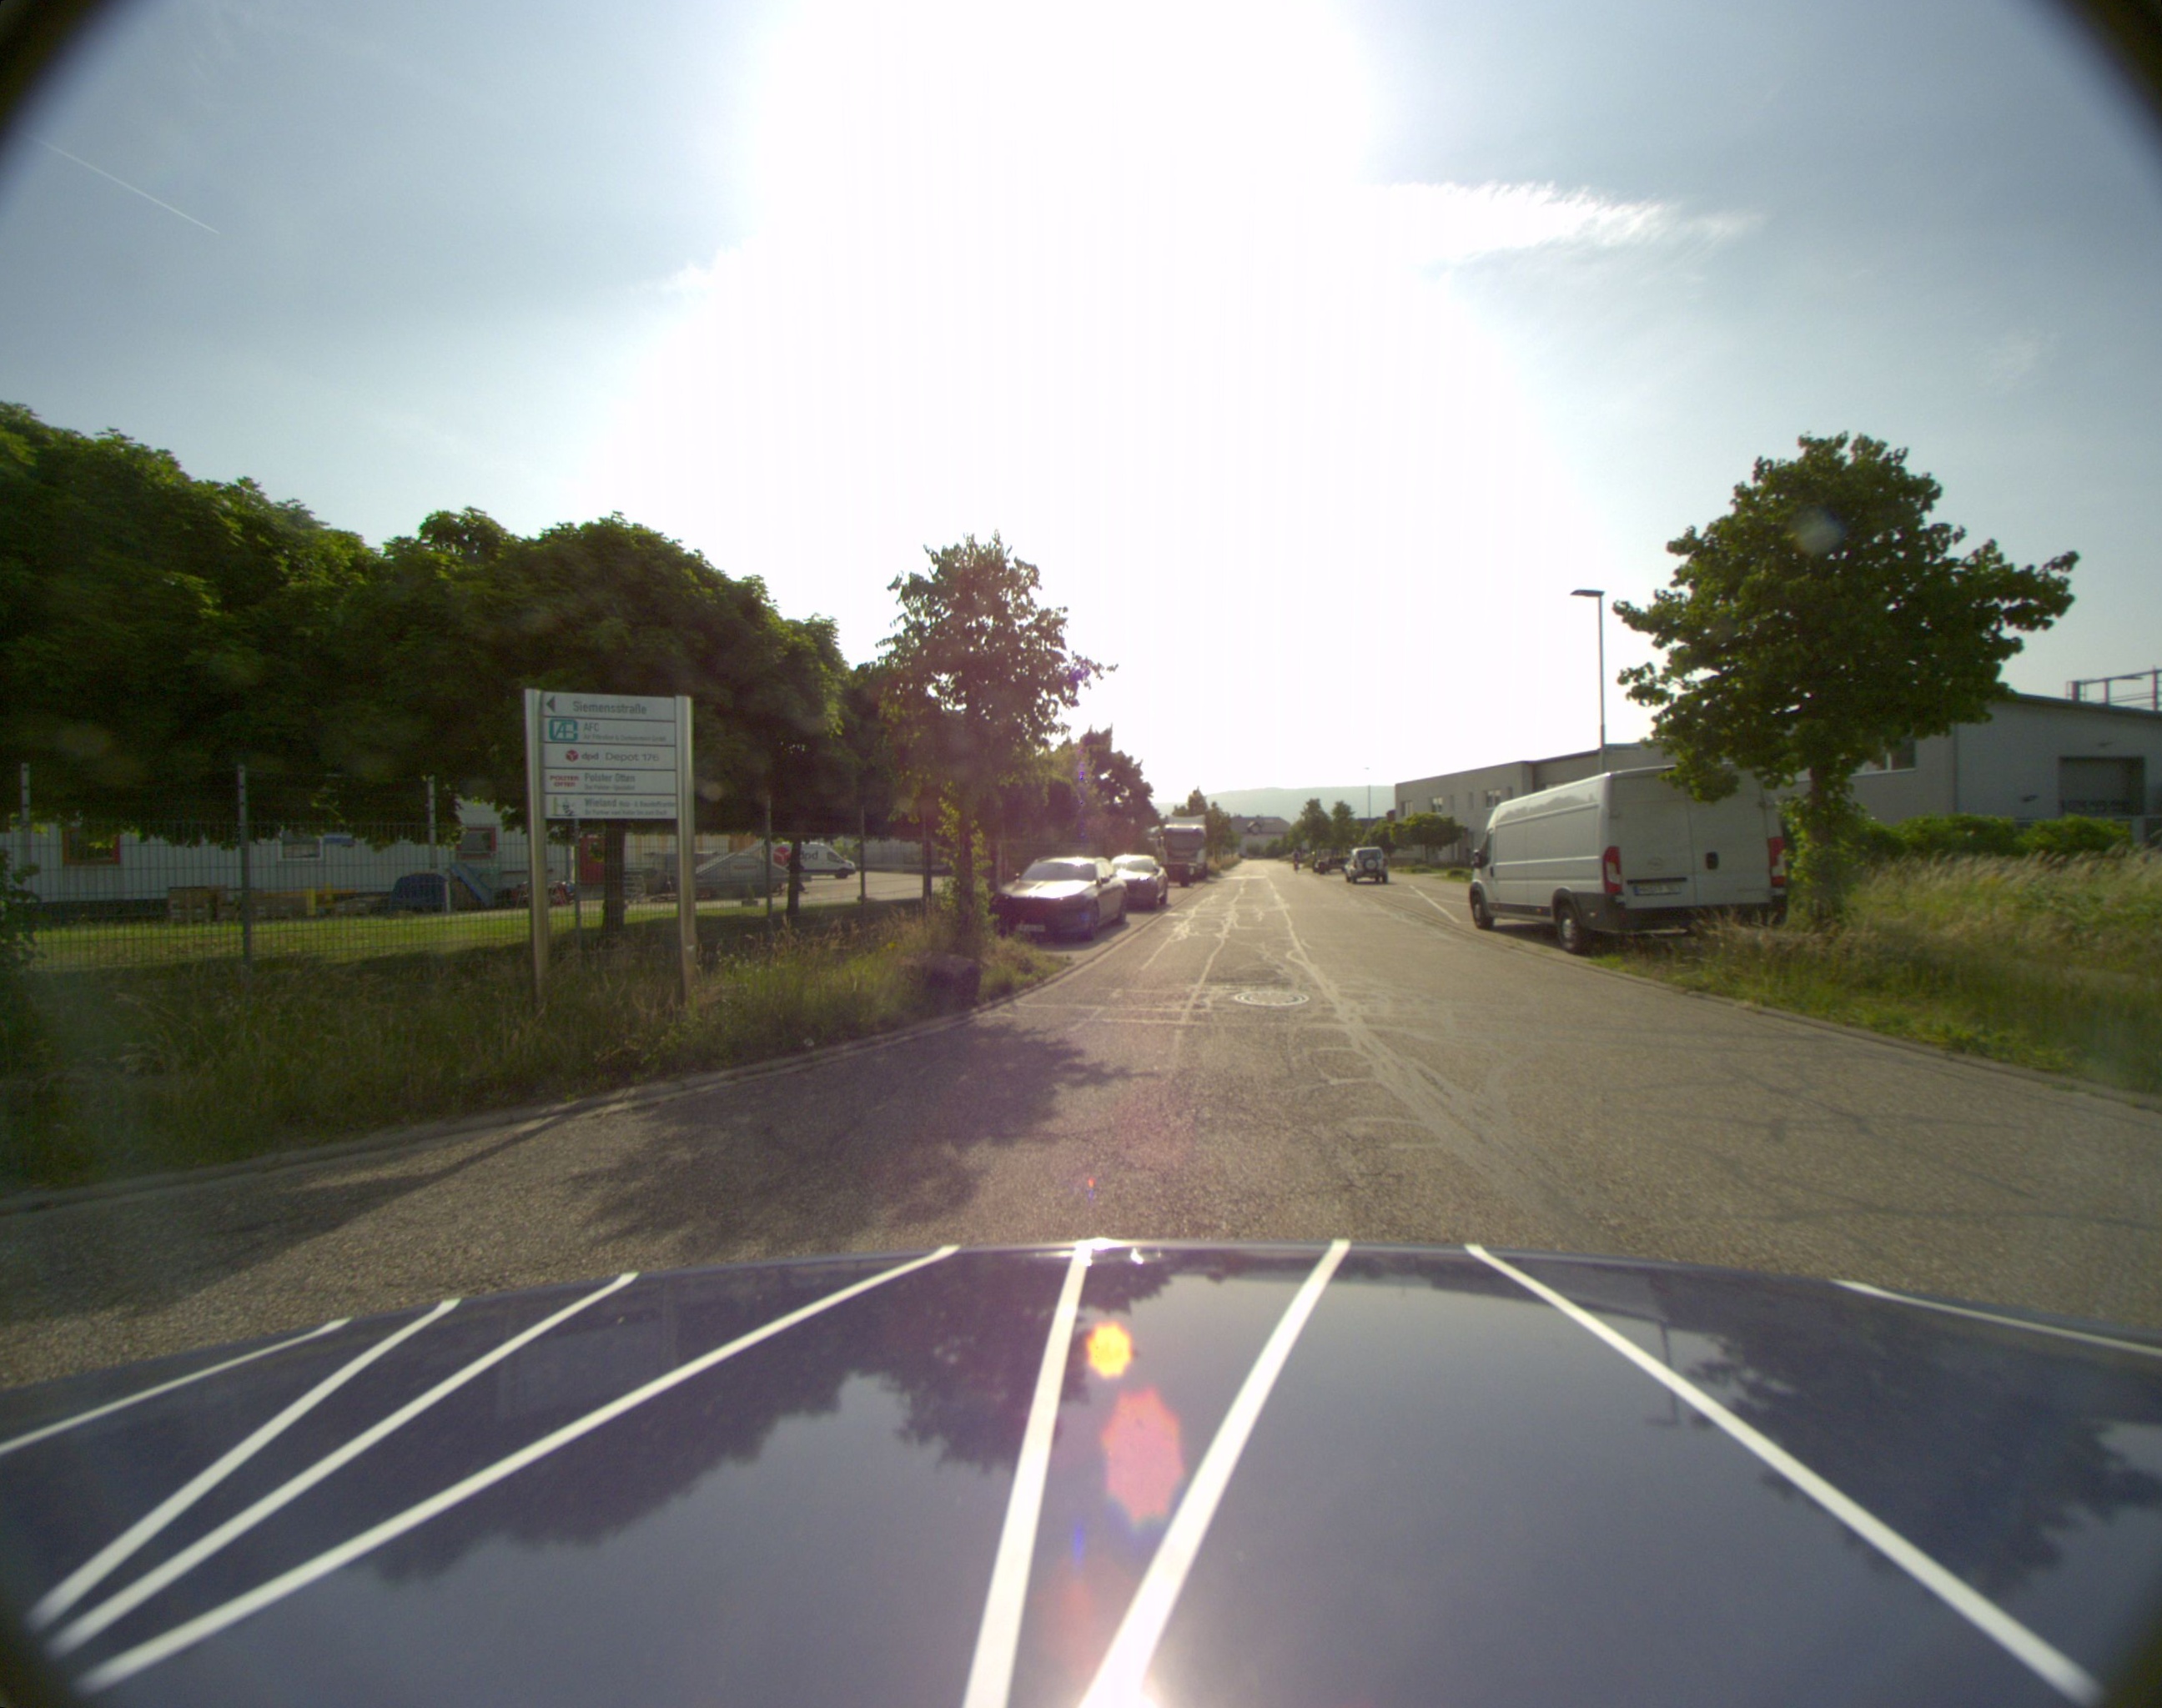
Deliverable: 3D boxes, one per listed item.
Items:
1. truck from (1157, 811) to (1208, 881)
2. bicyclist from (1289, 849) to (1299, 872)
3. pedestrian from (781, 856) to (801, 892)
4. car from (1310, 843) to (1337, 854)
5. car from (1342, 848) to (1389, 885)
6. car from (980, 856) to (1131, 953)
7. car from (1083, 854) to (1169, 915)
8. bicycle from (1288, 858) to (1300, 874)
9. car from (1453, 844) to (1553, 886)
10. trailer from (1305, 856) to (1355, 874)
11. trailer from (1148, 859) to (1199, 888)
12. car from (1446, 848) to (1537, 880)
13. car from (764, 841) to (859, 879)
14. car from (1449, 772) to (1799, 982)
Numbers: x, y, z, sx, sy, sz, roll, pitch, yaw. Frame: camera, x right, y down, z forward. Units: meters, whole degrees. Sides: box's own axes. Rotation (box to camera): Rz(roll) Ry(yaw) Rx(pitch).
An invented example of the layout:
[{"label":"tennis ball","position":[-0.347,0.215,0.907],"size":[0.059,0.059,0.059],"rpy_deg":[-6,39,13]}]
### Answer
[{"label":"truck","position":[6.332,-0.480,46.679],"size":[2.696,3.941,6.053],"rpy_deg":[2,1,11]},{"label":"bicyclist","position":[15.786,0.474,56.234],"size":[0.640,1.709,1.166],"rpy_deg":[-1,1,13]},{"label":"pedestrian","position":[-13.901,0.953,36.442],"size":[0.859,1.712,0.631],"rpy_deg":[-1,1,-19]},{"label":"car","position":[39.890,-0.843,125.071],"size":[3.993,1.718,2.002],"rpy_deg":[-1,0,14]},{"label":"car","position":[13.646,0.593,36.621],"size":[1.599,1.641,3.648],"rpy_deg":[-2,0,13]},{"label":"car","position":[-0.315,0.890,15.953],"size":[1.883,1.565,5.123],"rpy_deg":[1,1,13]},{"label":"car","position":[1.457,0.830,23.013],"size":[1.883,1.565,4.117],"rpy_deg":[2,1,13]},{"label":"bicycle","position":[15.741,0.839,56.090],"size":[0.717,1.116,2.221],"rpy_deg":[2,1,13]},{"label":"car","position":[17.582,0.427,31.842],"size":[1.838,1.562,3.815],"rpy_deg":[-3,0,-4]},{"label":"trailer","position":[18.013,0.753,55.467],"size":[2.550,1.068,9.741],"rpy_deg":[-2,0,13]},{"label":"trailer","position":[4.844,0.923,38.723],"size":[1.941,1.228,7.458],"rpy_deg":[1,0,12]},{"label":"car","position":[20.648,0.498,38.461],"size":[1.981,1.468,4.420],"rpy_deg":[-1,0,-5]},{"label":"car","position":[-19.803,0.376,55.898],"size":[6.283,2.633,2.207],"rpy_deg":[-1,1,-28]},{"label":"car","position":[8.324,0.301,12.726],"size":[2.106,2.580,6.508],"rpy_deg":[-2,0,10]}]
